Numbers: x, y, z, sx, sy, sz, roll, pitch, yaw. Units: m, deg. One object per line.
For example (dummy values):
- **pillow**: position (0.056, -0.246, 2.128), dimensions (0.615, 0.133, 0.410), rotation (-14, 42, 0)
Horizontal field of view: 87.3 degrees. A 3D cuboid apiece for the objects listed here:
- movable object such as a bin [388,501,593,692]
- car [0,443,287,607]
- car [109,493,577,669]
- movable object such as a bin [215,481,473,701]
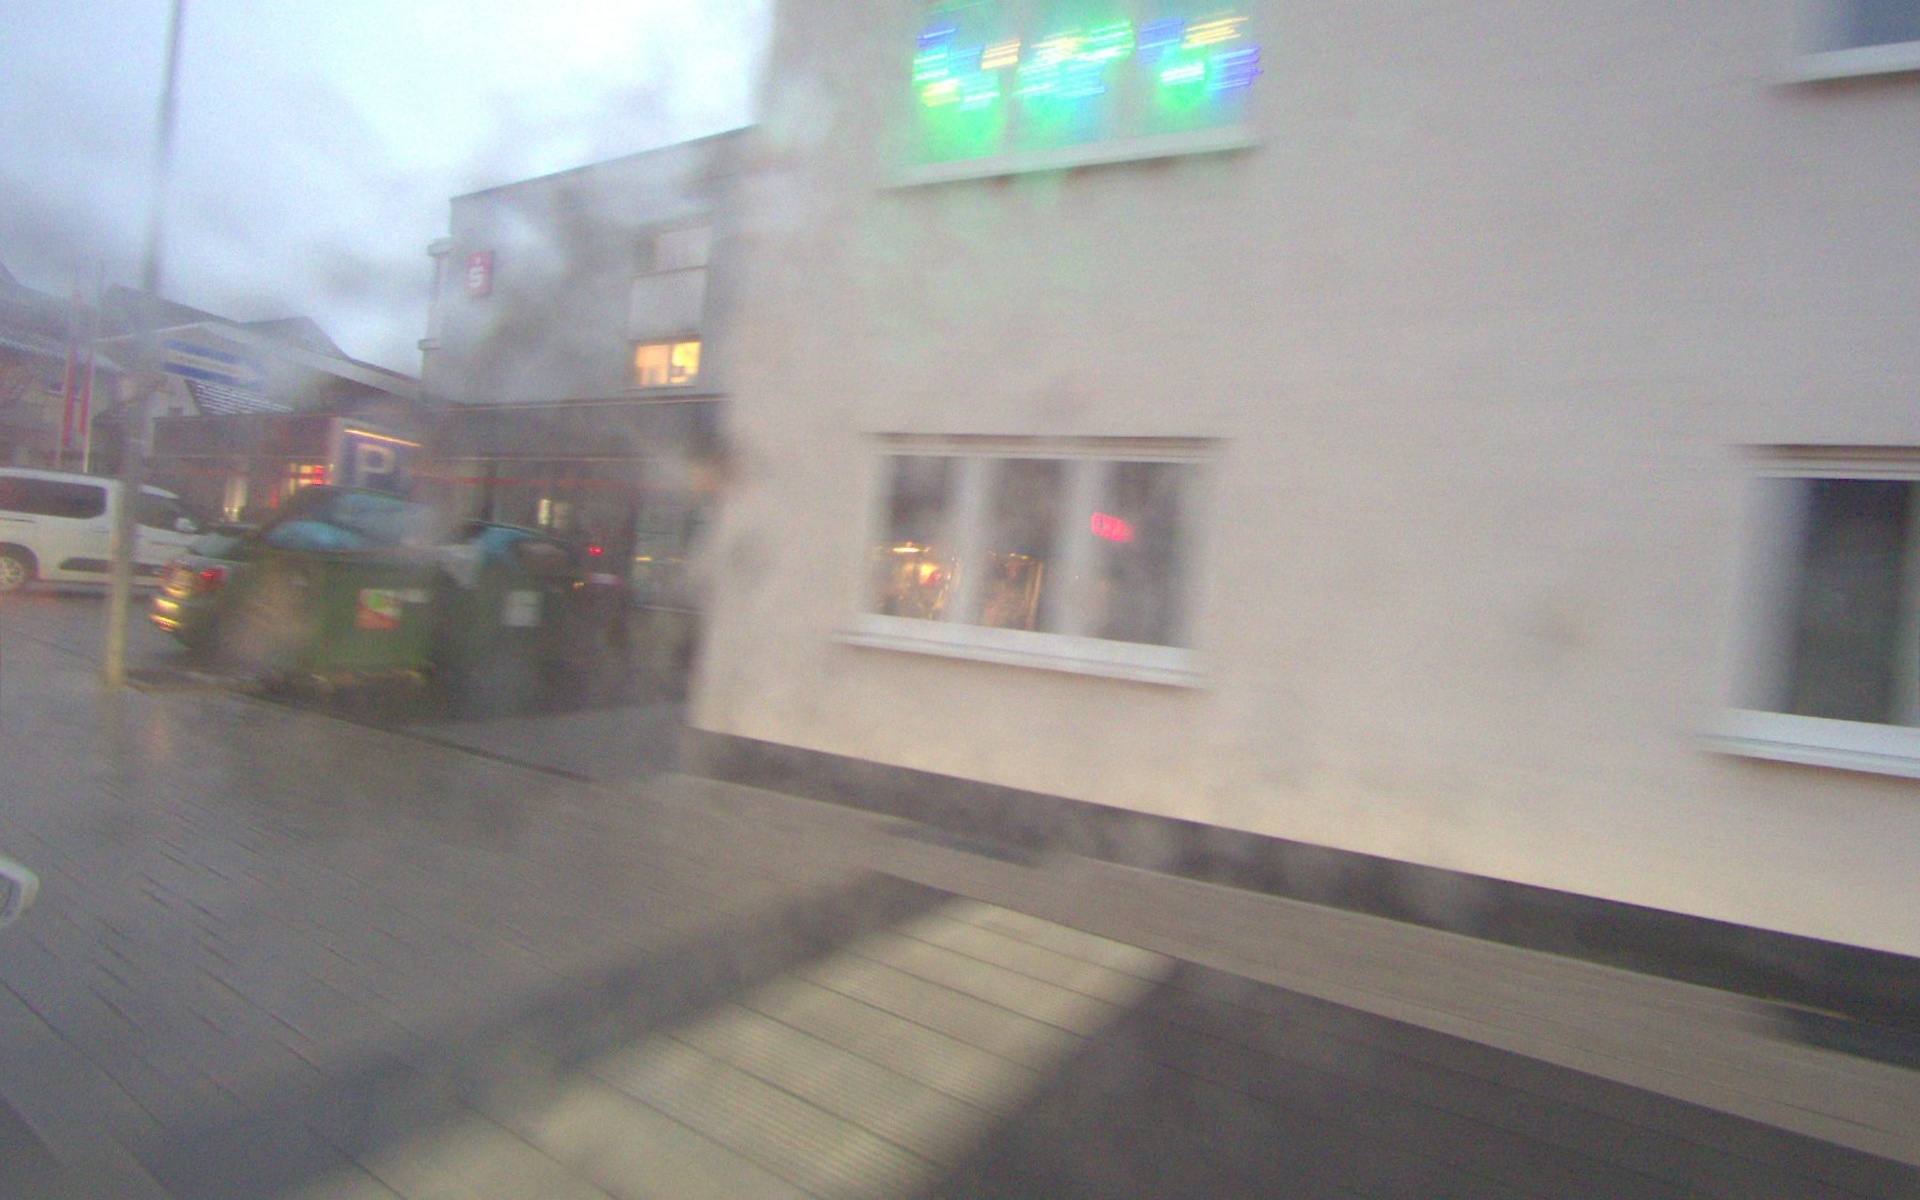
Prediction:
- **movable object such as a bin**: position (-4.599, -0.029, 9.914), dimensions (1.165, 1.666, 1.286), rotation (7, 2, 29)
- **car**: position (-13.228, -1.128, 15.669), dimensions (1.971, 2.076, 4.085), rotation (7, 1, 40)
- **car**: position (-6.678, -0.117, 11.304), dimensions (1.882, 1.504, 3.989), rotation (5, -1, 34)
- **movable object such as a bin**: position (-5.329, -0.073, 8.761), dimensions (1.240, 1.665, 1.394), rotation (7, 2, 29)
